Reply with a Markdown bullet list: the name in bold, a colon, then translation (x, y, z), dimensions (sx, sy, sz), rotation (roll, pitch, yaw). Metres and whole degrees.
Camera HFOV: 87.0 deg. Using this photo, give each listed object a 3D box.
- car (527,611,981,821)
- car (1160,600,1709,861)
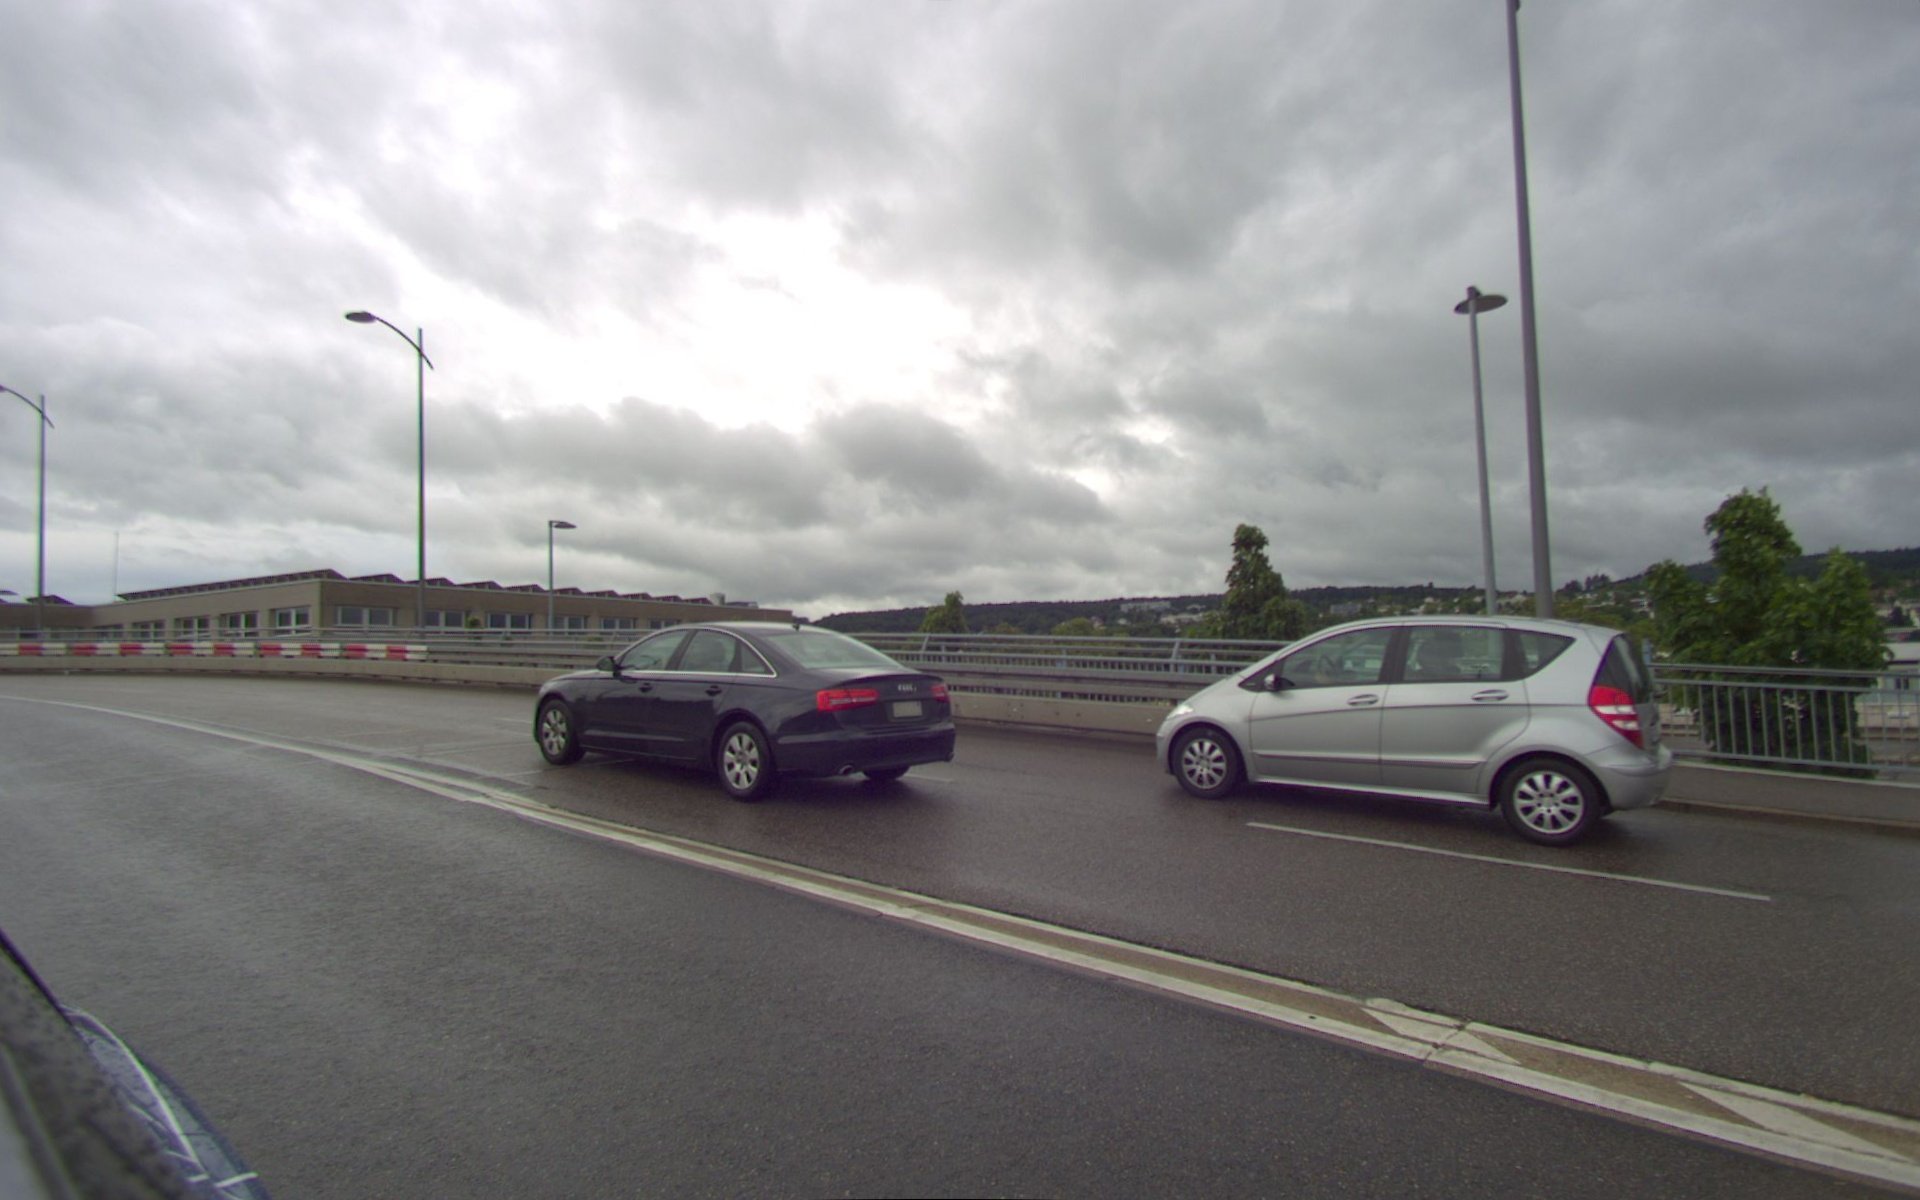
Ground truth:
- **car**: translation (-2.067, 0.882, 9.332), dimensions (4.453, 1.502, 1.651), rotation (-1, -3, 39)
- **car**: translation (3.662, 0.857, 8.152), dimensions (3.708, 1.621, 1.627), rotation (-1, -3, 41)
